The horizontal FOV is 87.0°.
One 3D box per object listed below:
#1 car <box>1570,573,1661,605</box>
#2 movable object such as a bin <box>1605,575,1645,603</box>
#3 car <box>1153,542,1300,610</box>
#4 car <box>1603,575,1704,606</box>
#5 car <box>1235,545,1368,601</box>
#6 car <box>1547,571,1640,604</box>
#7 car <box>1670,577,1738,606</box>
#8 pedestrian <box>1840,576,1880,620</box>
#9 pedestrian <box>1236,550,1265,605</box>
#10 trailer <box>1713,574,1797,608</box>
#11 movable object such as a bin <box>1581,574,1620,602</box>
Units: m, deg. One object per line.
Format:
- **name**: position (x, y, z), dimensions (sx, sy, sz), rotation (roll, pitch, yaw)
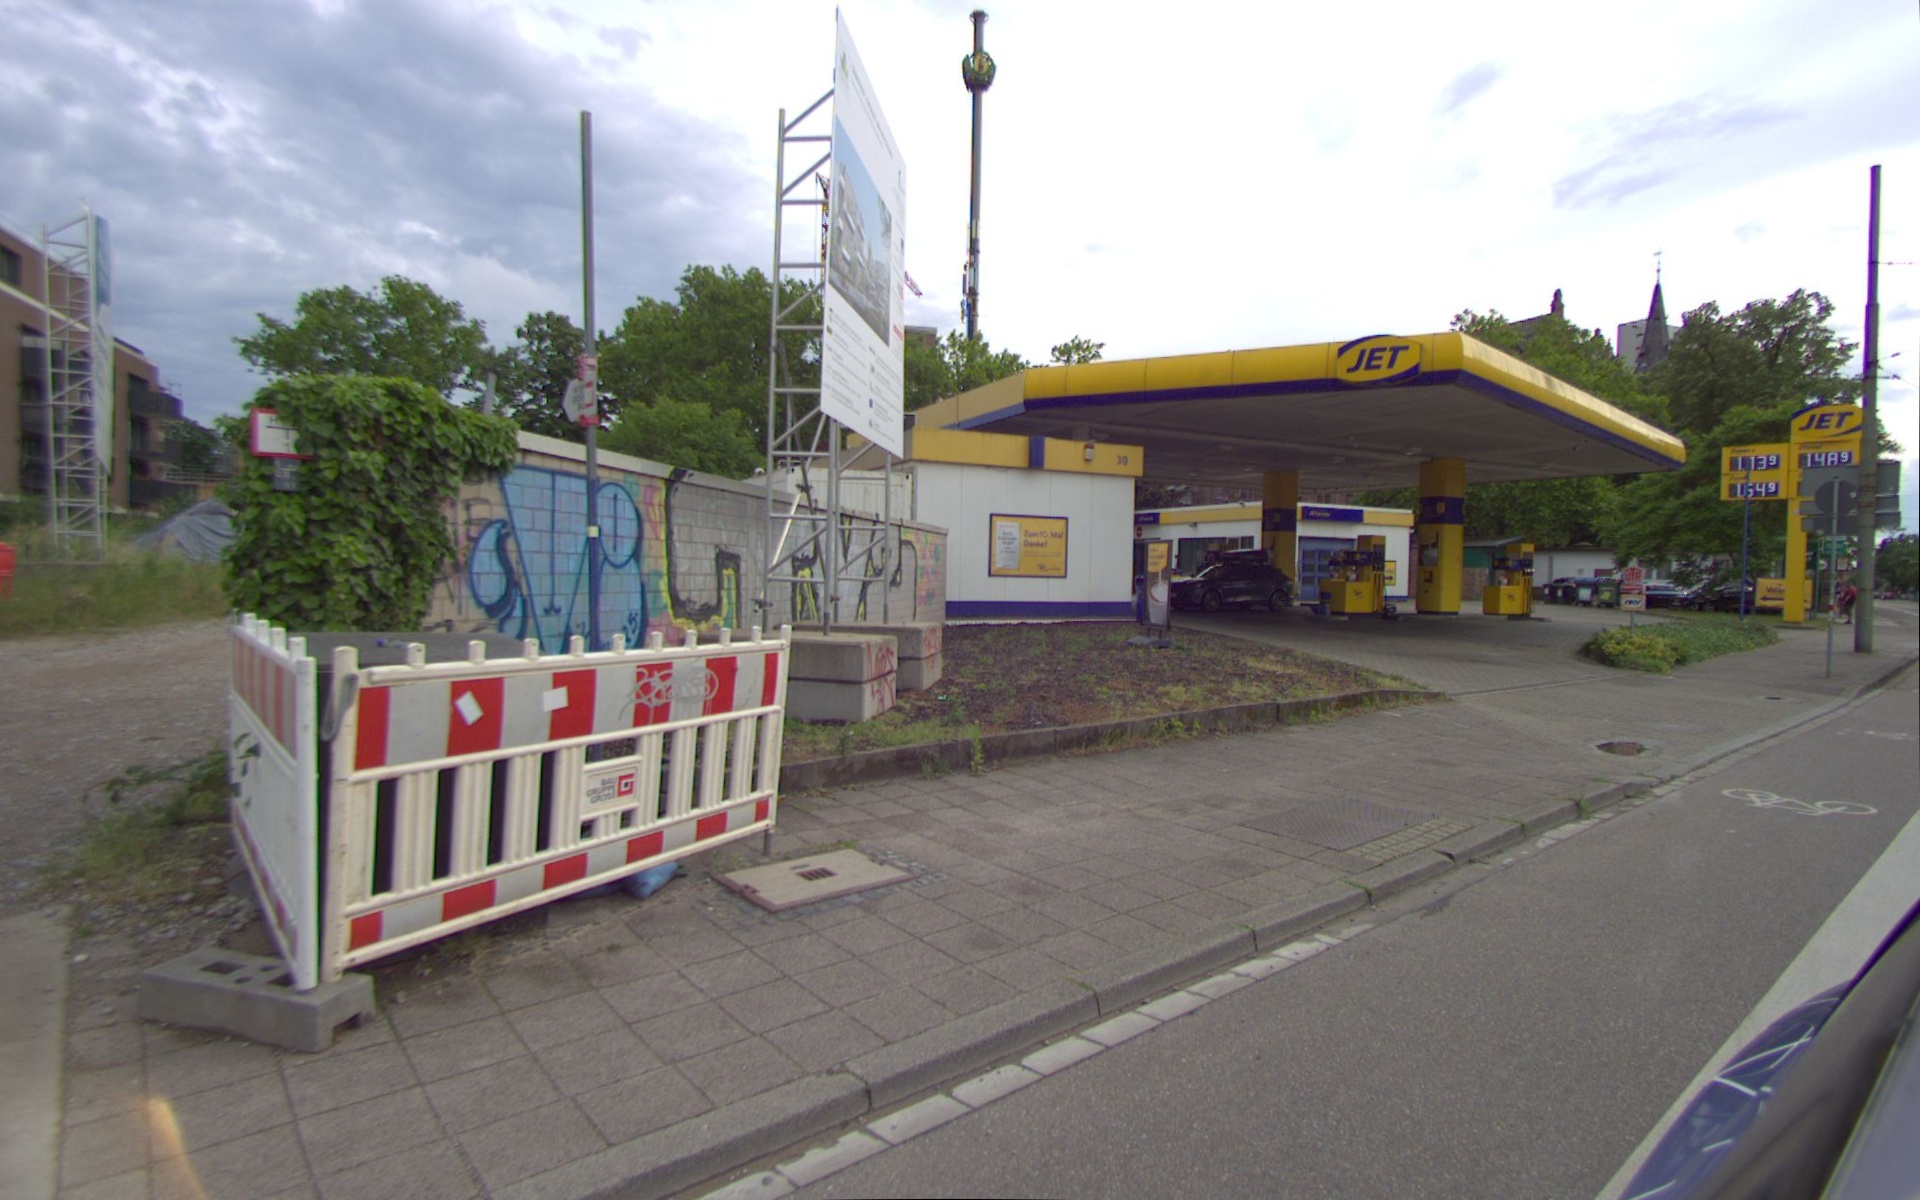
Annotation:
- **car**: position (36.284, -0.657, 56.039), dimensions (3.986, 1.687, 1.969), rotation (1, 2, 43)
- **movable object such as a bin**: position (32.022, -0.540, 48.768), dimensions (1.136, 1.336, 1.123), rotation (0, 1, -13)
- **car**: position (8.404, -0.771, 31.938), dimensions (4.165, 2.012, 1.829), rotation (0, 3, -23)
- **car**: position (34.969, -0.491, 51.078), dimensions (3.918, 1.536, 1.830), rotation (0, 1, -7)
- **car**: position (13.141, -1.045, 38.985), dimensions (4.432, 1.865, 1.993), rotation (2, 3, -18)
- **car**: position (33.340, -0.661, 53.299), dimensions (3.942, 1.716, 1.816), rotation (0, 1, -11)
- **car**: position (35.438, -0.433, 48.166), dimensions (3.935, 1.304, 1.995), rotation (-1, 2, -44)
- **pedestrian**: position (38.012, -0.104, 42.765), dimensions (0.858, 1.768, 0.847), rotation (4, 4, 17)
- **pedestrian**: position (9.690, -0.748, 33.815), dimensions (0.614, 1.809, 0.709), rotation (0, 1, -20)
- **trailer**: position (42.009, -0.521, 53.503), dimensions (3.282, 1.549, 1.747), rotation (5, 6, 43)
- **movable object such as a bin**: position (31.588, -0.598, 49.905), dimensions (1.136, 1.375, 1.123), rotation (0, 1, -13)
